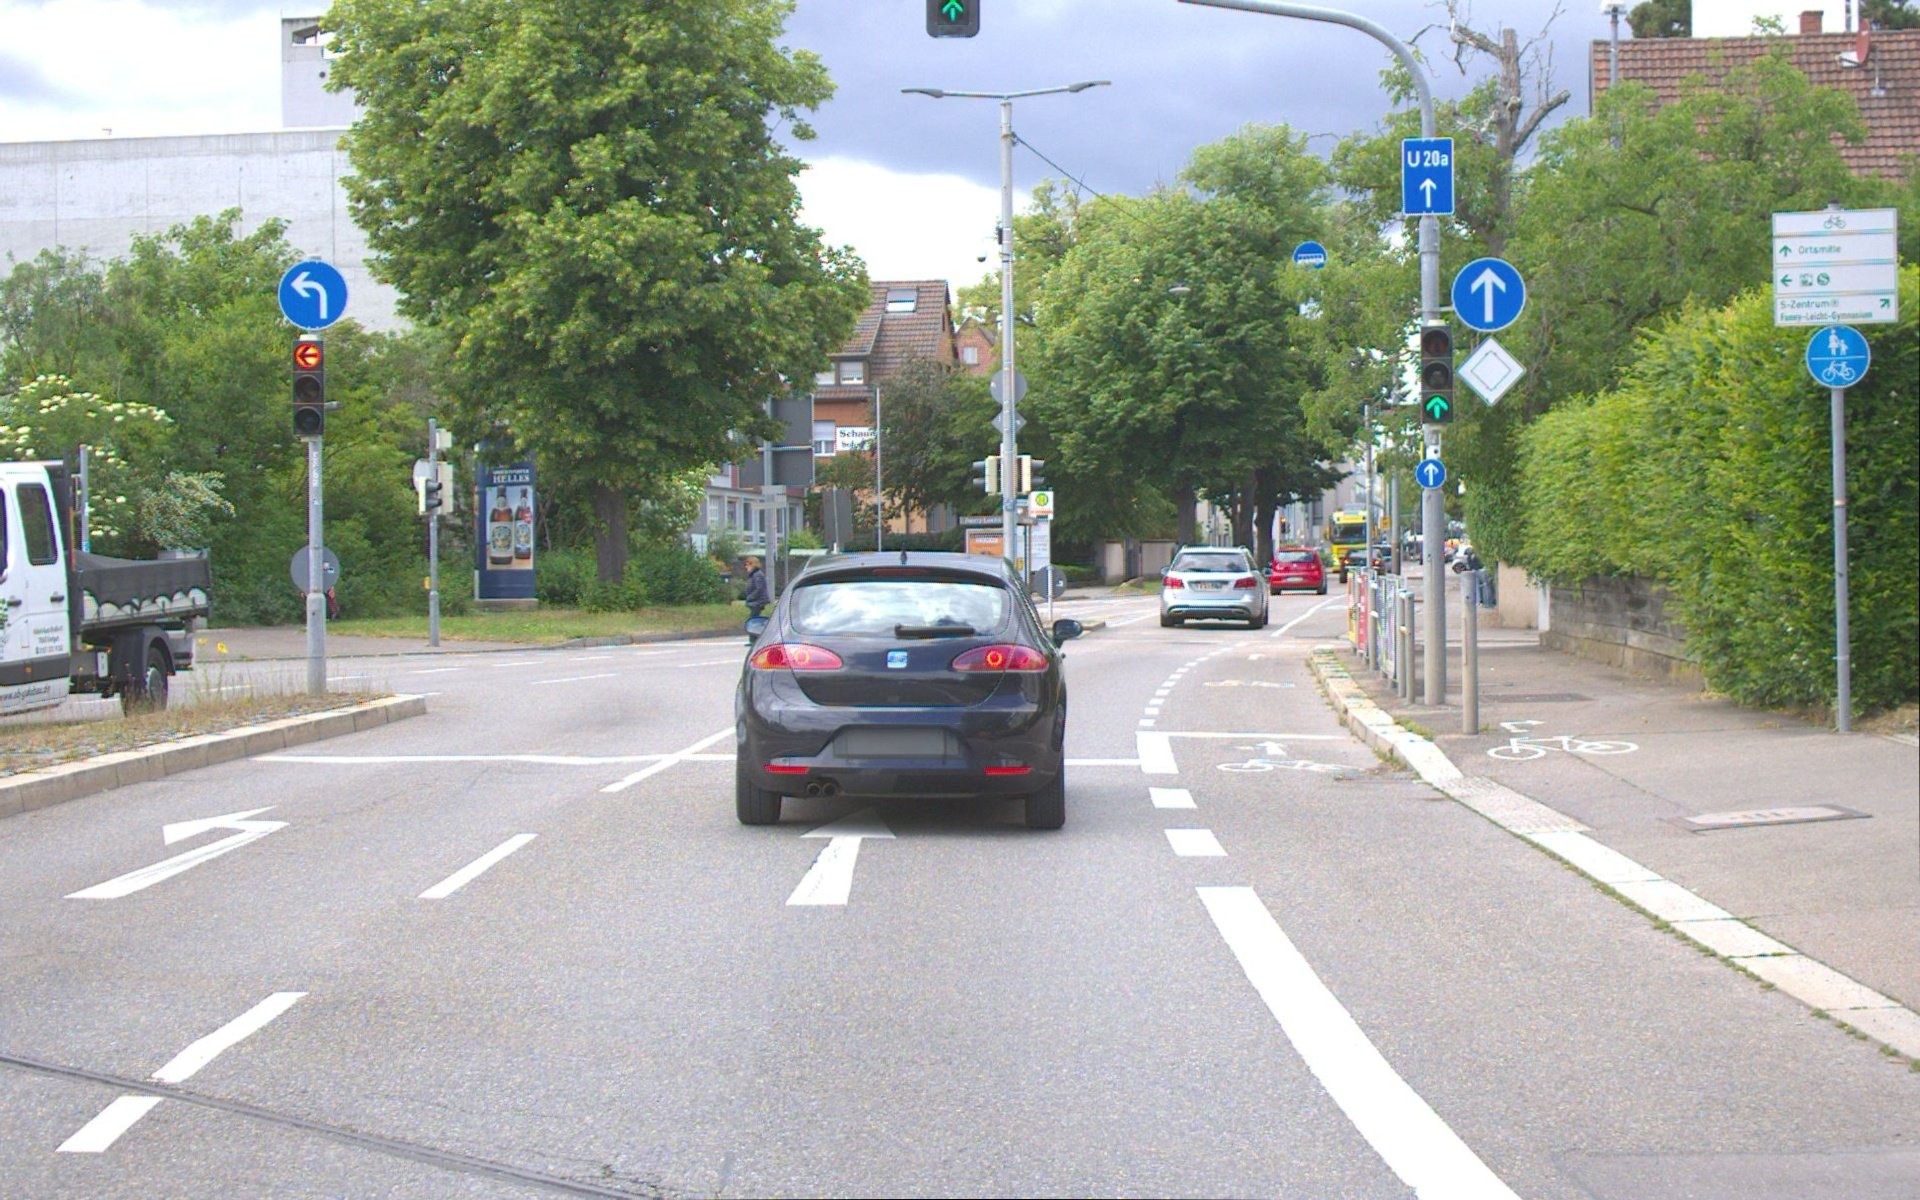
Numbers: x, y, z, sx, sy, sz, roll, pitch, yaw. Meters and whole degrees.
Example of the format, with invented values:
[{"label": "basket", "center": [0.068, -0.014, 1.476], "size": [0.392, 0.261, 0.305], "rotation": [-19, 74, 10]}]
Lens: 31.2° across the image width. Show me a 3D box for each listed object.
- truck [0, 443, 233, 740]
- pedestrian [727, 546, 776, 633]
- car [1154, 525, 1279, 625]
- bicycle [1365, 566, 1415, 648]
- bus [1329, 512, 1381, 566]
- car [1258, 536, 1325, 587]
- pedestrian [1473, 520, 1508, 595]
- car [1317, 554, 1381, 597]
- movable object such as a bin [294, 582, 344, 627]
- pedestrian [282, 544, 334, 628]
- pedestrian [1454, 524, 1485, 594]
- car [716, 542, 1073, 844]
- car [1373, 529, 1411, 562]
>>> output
[{"label": "truck", "center": [-8.120, -0.077, 27.887], "size": [2.126, 2.257, 6.804], "rotation": [-1, 1, 8]}, {"label": "pedestrian", "center": [-3.462, -0.181, 57.143], "size": [0.773, 1.402, 0.601], "rotation": [2, 2, -4]}, {"label": "car", "center": [4.732, -0.489, 62.863], "size": [1.820, 1.693, 4.251], "rotation": [-1, 1, 10]}, {"label": "bicycle", "center": [5.555, 0.085, 44.458], "size": [0.628, 1.025, 1.504], "rotation": [0, 1, 6]}, {"label": "bus", "center": [23.636, -3.667, 205.666], "size": [2.869, 3.125, 6.395], "rotation": [-1, 1, 8]}, {"label": "car", "center": [10.289, -1.212, 106.456], "size": [1.942, 1.476, 4.252], "rotation": [-1, 1, 7]}, {"label": "pedestrian", "center": [11.249, -0.909, 72.927], "size": [0.543, 1.550, 0.471], "rotation": [-5, 1, 0]}, {"label": "car", "center": [15.679, -0.994, 138.286], "size": [1.995, 1.678, 3.997], "rotation": [-1, 1, 14]}, {"label": "movable object such as a bin", "center": [-11.797, 0.078, 63.318], "size": [0.655, 0.795, 0.897], "rotation": [-1, 1, 6]}, {"label": "pedestrian", "center": [-11.878, -0.263, 62.622], "size": [0.655, 1.517, 0.923], "rotation": [-1, 1, 6]}, {"label": "pedestrian", "center": [11.265, -0.905, 75.973], "size": [0.550, 1.512, 0.361], "rotation": [-3, 1, 18]}, {"label": "car", "center": [-0.272, 0.432, 19.066], "size": [1.759, 1.444, 3.714], "rotation": [1, 1, 2]}, {"label": "car", "center": [21.688, -2.745, 172.568], "size": [1.849, 1.590, 4.105], "rotation": [-1, 1, 8]}]
